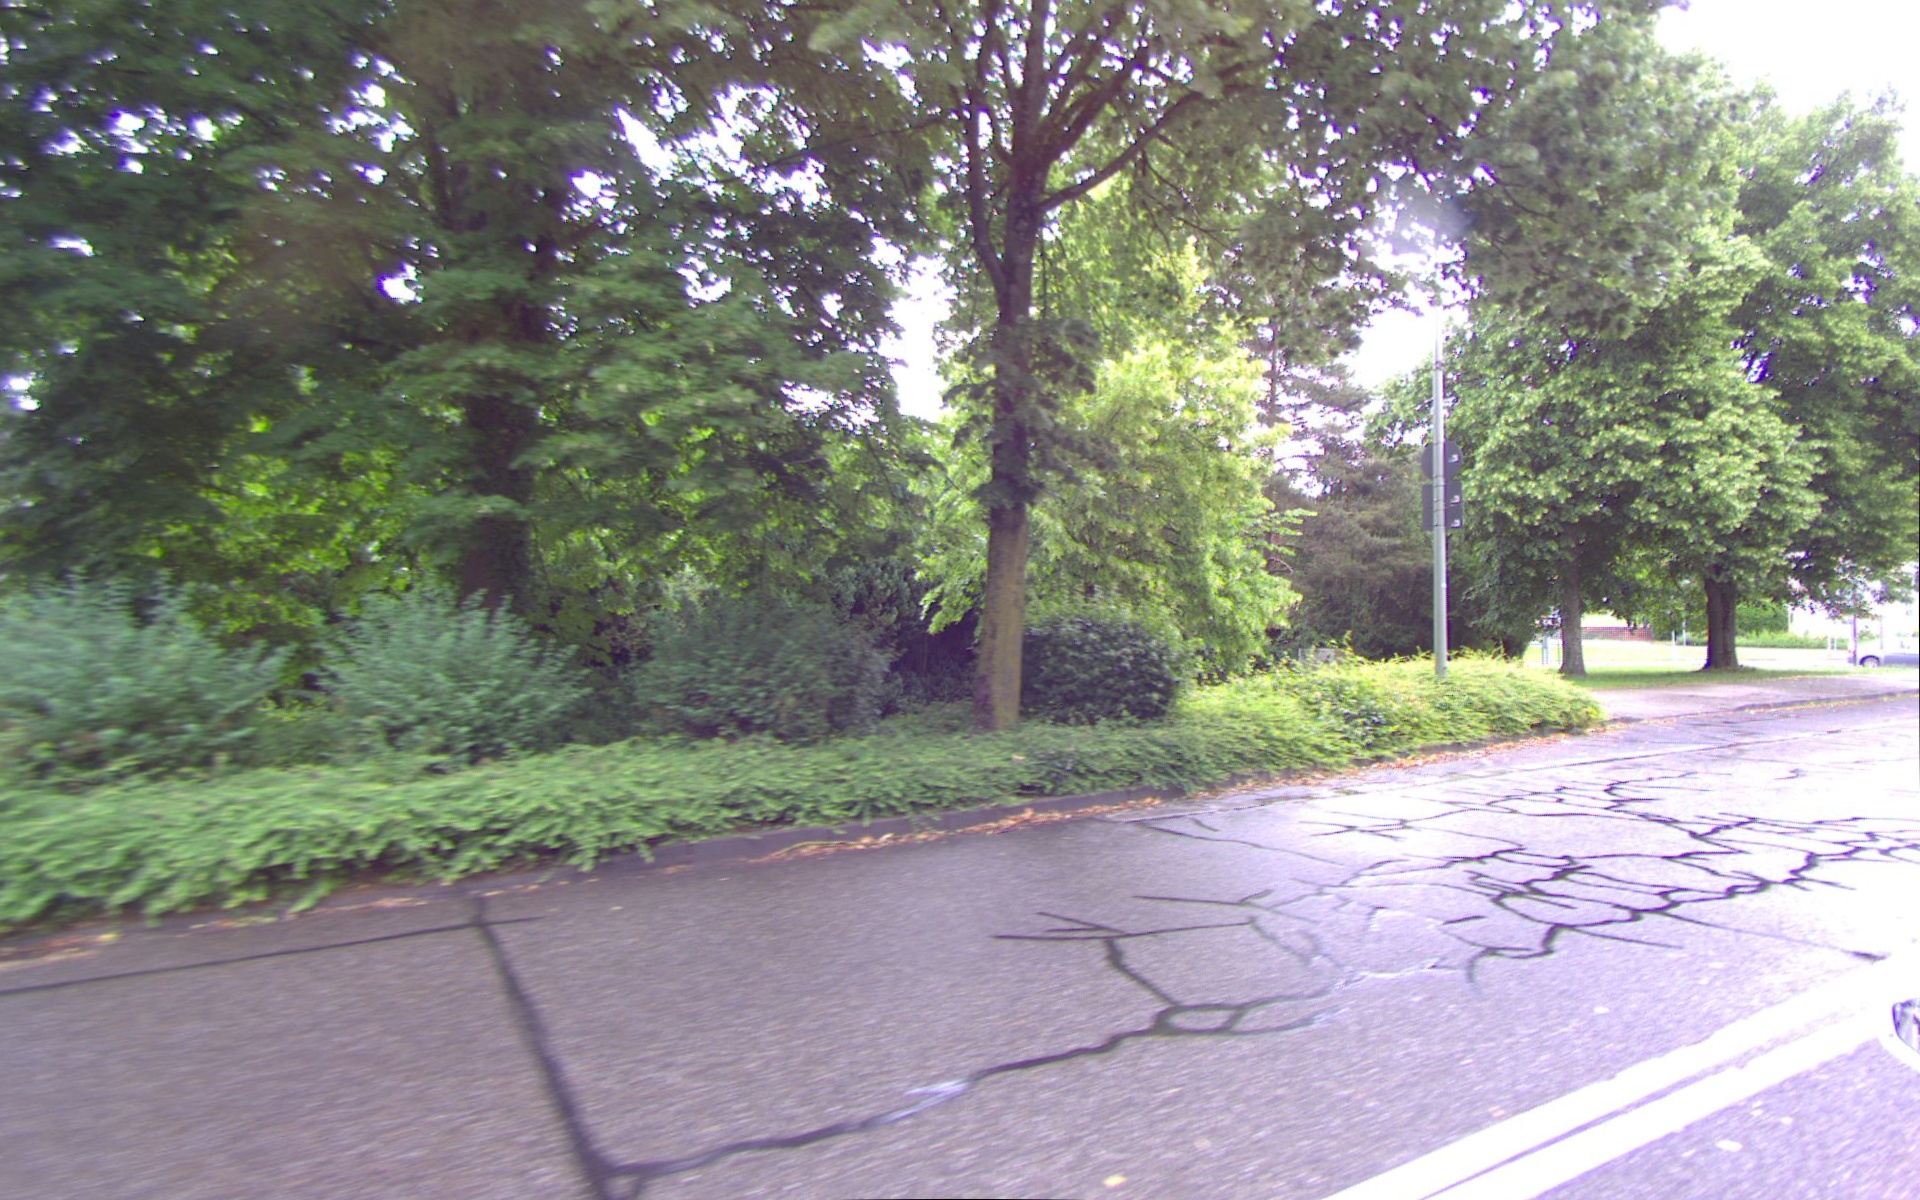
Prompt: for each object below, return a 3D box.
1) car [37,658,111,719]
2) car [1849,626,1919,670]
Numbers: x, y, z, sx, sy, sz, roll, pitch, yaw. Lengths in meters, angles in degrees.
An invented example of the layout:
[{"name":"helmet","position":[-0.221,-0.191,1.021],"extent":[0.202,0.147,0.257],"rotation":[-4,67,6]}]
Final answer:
[{"name":"car","position":[-31.133,3.059,35.383],"extent":[1.810,1.740,3.953],"rotation":[2,0,-40]},{"name":"car","position":[40.314,2.036,42.245],"extent":[1.979,1.706,3.995],"rotation":[1,0,-34]}]
